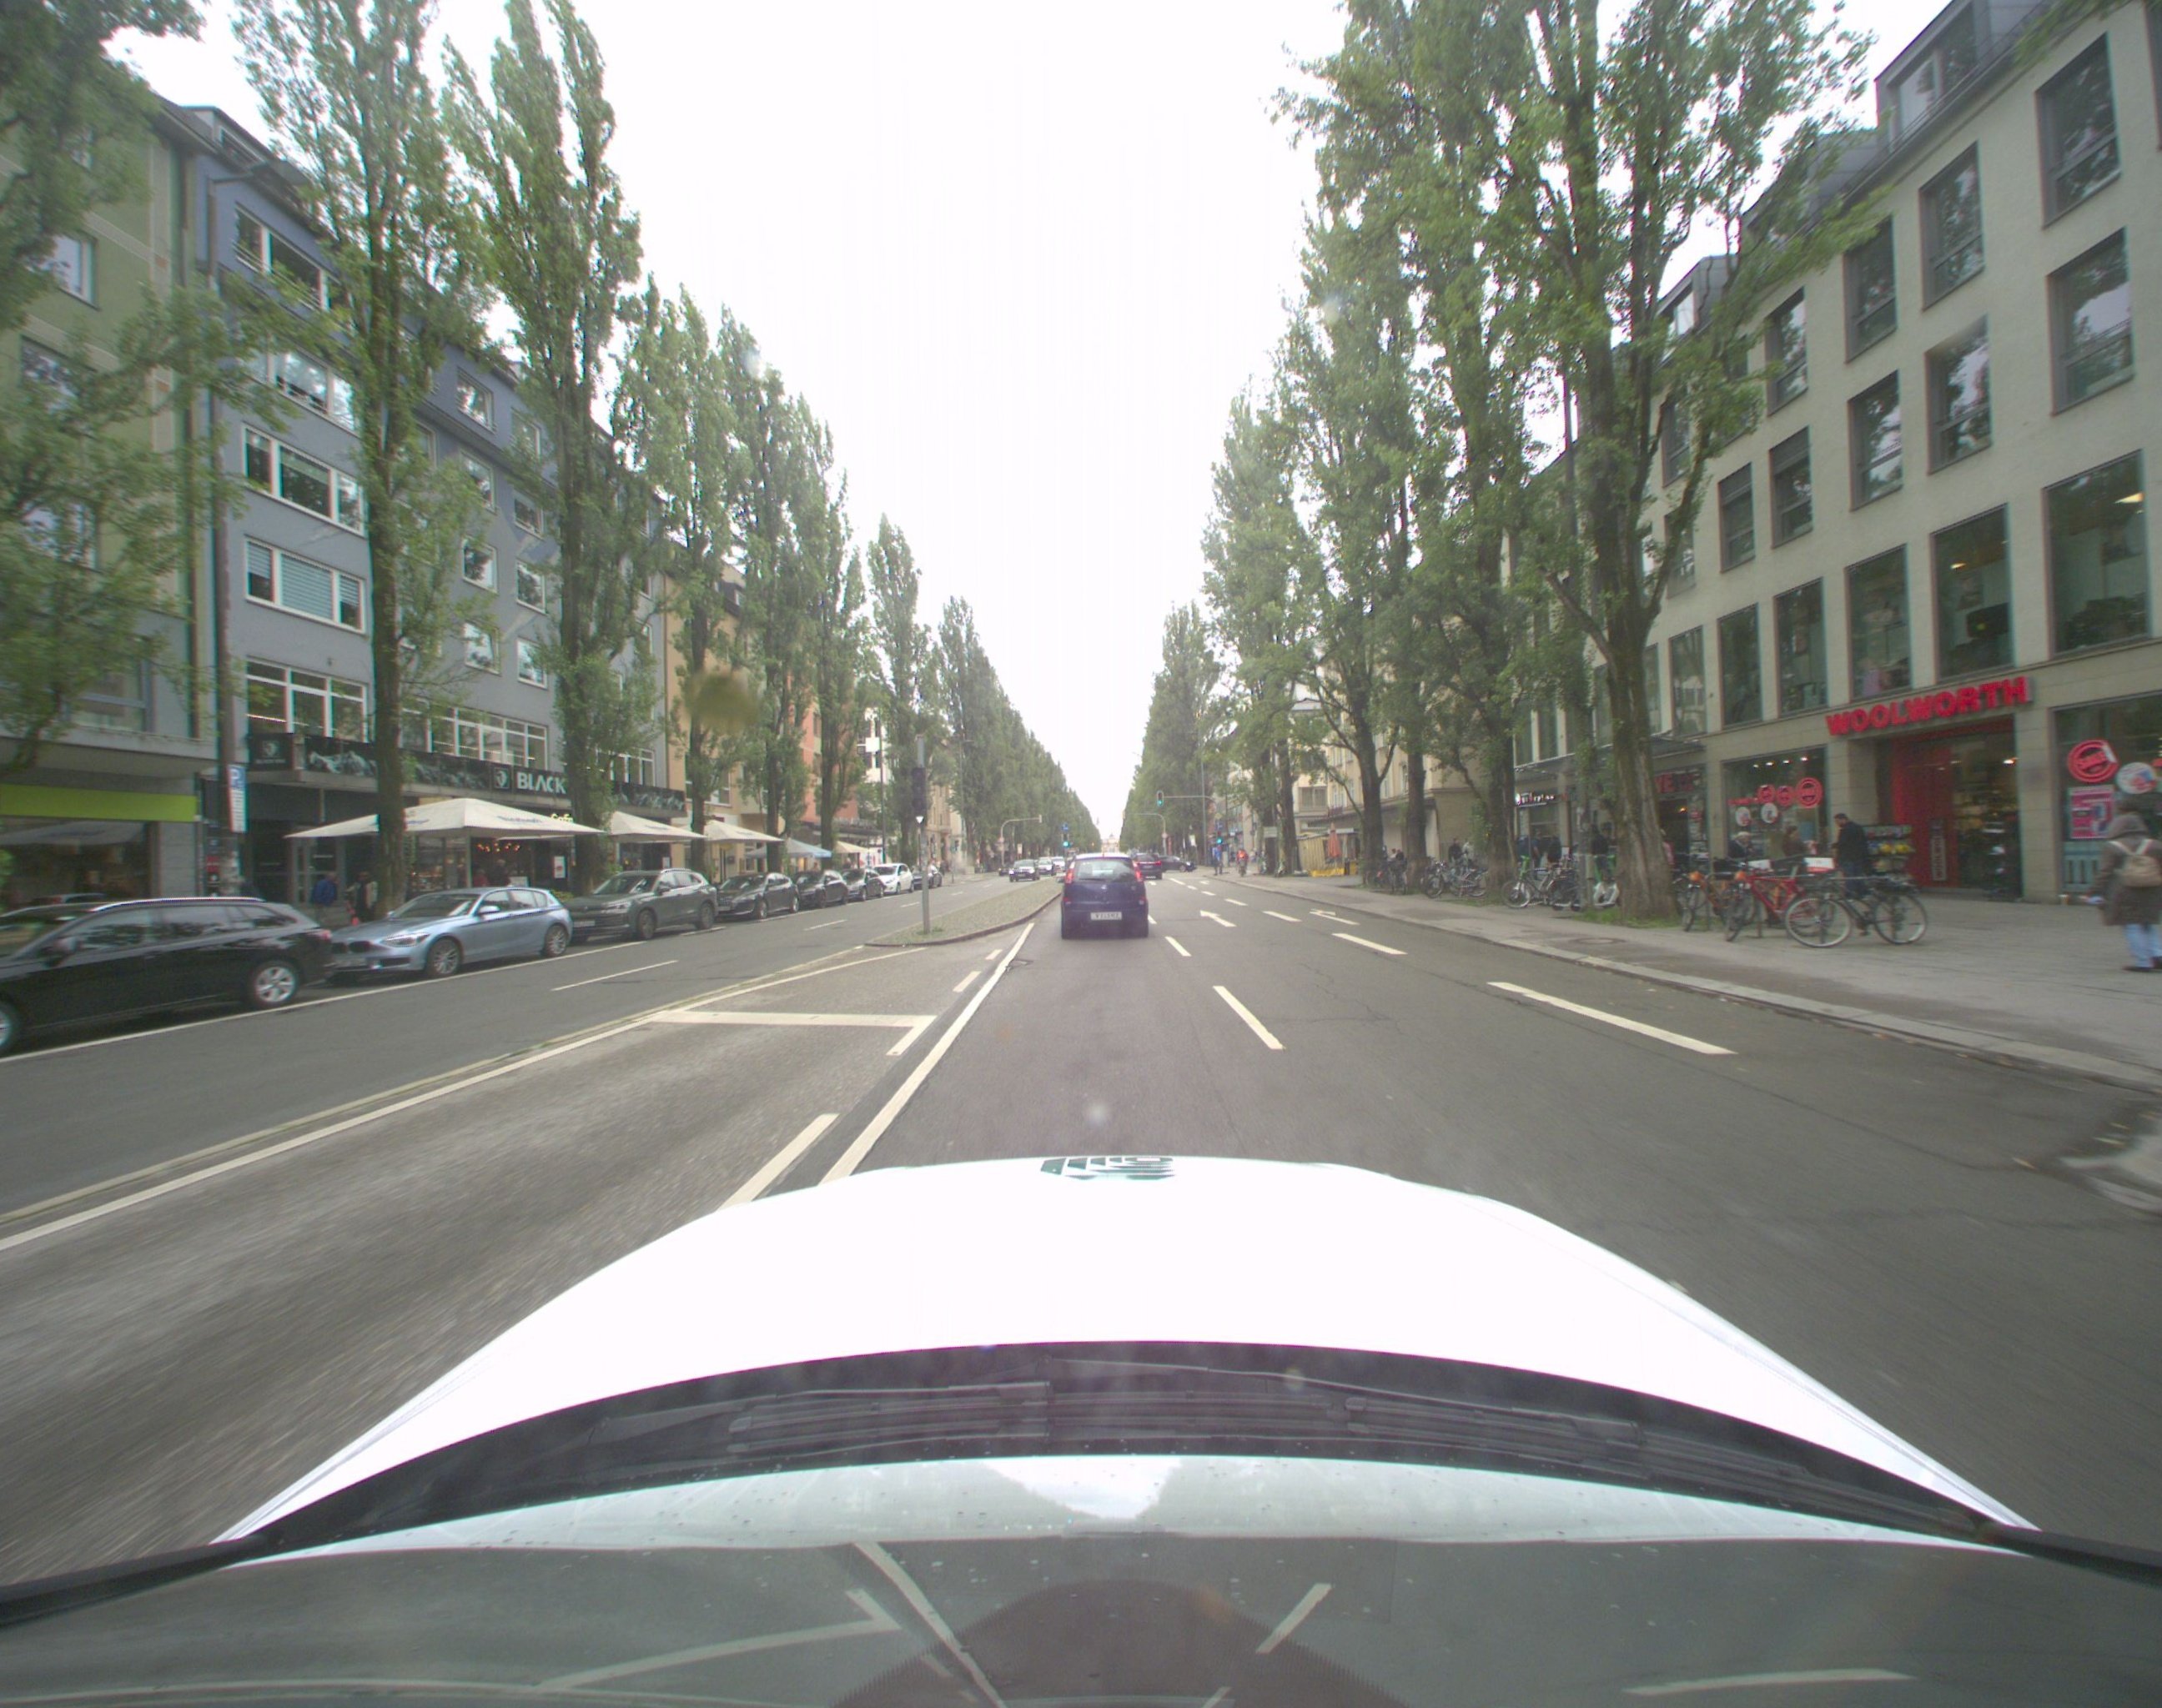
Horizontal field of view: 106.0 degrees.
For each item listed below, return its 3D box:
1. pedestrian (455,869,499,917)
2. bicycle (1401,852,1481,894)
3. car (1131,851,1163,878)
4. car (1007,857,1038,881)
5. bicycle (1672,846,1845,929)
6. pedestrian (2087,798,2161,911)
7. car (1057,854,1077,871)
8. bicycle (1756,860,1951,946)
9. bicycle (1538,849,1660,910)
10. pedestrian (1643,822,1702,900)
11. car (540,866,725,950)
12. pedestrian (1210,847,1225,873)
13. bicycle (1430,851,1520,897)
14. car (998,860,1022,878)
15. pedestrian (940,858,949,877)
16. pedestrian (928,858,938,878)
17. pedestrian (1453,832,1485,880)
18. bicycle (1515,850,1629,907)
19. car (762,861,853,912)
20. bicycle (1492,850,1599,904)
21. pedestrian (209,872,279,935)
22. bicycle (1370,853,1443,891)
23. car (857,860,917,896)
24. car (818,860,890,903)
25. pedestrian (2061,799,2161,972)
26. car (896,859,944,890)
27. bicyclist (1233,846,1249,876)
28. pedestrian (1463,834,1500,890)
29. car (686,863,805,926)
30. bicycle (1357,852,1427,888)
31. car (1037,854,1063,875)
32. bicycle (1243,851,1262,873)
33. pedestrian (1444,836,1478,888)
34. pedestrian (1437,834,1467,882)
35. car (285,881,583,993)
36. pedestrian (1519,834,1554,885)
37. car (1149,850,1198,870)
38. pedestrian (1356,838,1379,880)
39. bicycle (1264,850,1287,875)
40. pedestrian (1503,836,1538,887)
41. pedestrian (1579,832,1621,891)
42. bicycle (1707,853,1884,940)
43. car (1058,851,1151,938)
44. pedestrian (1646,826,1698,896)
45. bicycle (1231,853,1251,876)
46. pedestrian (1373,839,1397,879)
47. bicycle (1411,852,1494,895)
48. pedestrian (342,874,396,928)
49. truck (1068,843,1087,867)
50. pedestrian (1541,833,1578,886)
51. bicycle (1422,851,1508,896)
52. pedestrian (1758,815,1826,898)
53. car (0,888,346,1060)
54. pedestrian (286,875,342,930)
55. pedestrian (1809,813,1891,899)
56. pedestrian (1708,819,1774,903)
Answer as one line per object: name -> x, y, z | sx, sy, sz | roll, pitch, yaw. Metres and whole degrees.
pedestrian -> -18.389, 1.182, 24.812 | 0.763, 1.410, 0.799 | 0, -1, -3
bicycle -> 11.368, 0.594, 25.777 | 2.220, 1.204, 0.626 | -2, 0, 0
car -> 4.150, 0.645, 51.774 | 1.889, 1.622, 4.002 | -1, 0, 2
car -> -3.935, 0.991, 55.099 | 1.728, 1.465, 3.367 | -2, 0, 2
bicycle -> 10.860, 0.530, 13.087 | 2.220, 1.204, 0.626 | -2, 0, 0
pedestrian -> 16.414, 0.002, 12.650 | 0.758, 1.686, 0.671 | -2, -1, -16
car -> -1.472, 0.884, 85.724 | 1.859, 1.665, 4.122 | -2, 0, 2
bicycle -> 10.311, 0.643, 10.911 | 1.989, 1.033, 0.626 | -2, 0, 0
bicycle -> 11.236, 0.550, 17.690 | 2.220, 1.204, 0.626 | -2, 0, 0
pedestrian -> 13.229, 0.159, 18.223 | 0.671, 1.686, 0.758 | -3, -1, -2
car -> -10.757, 1.215, 19.971 | 1.859, 1.665, 4.403 | -4, 0, 2
pedestrian -> 9.561, 0.406, 57.215 | 0.880, 1.766, 0.769 | -2, 0, -1
bicycle -> 11.295, 0.570, 23.375 | 2.220, 1.204, 0.626 | -2, 0, 0
car -> -6.937, 1.464, 79.886 | 1.859, 1.665, 4.122 | -2, 0, 2
pedestrian -> -12.813, 1.254, 76.319 | 0.767, 1.766, 0.882 | -2, 0, -9
pedestrian -> -13.251, 1.277, 72.938 | 0.767, 1.766, 0.882 | -2, 0, -9
pedestrian -> 14.976, 0.074, 31.434 | 0.719, 1.827, 0.885 | 0, -1, -8
bicycle -> 11.320, 0.551, 18.800 | 2.220, 1.204, 0.626 | -2, 0, 0
car -> -10.379, 1.196, 31.204 | 1.859, 1.665, 4.122 | -4, 0, 2
bicycle -> 11.326, 0.552, 19.884 | 2.220, 1.204, 0.626 | -2, 0, 0
pedestrian -> -19.358, 1.129, 18.856 | 0.763, 1.410, 0.799 | 0, -1, -3
bicycle -> 11.147, 0.606, 27.902 | 2.220, 1.204, 0.626 | -2, 0, 0
car -> -9.939, 1.194, 41.990 | 1.859, 1.665, 4.122 | -4, 0, 2
car -> -10.078, 1.186, 36.460 | 1.859, 1.665, 4.122 | -4, 0, 2
pedestrian -> 10.710, 0.310, 8.308 | 0.749, 1.686, 0.755 | -4, -2, 44
car -> -9.664, 1.189, 49.264 | 1.859, 1.665, 4.122 | -4, 0, 2
bicyclist -> 9.842, 0.421, 50.235 | 0.764, 1.766, 0.885 | -2, 0, 1
pedestrian -> 13.353, 0.261, 27.192 | 0.719, 1.827, 0.885 | 0, -1, -8
car -> -10.523, 1.211, 25.918 | 1.859, 1.665, 4.122 | -4, 0, 2
bicycle -> 11.172, 0.563, 29.282 | 2.220, 1.204, 0.626 | -2, 0, 0
car -> -2.591, 0.886, 68.700 | 1.859, 1.665, 4.122 | -2, 0, 2
bicycle -> 10.951, 0.497, 52.095 | 0.769, 1.349, 2.450 | -2, 0, 2
pedestrian -> 13.558, 0.279, 29.064 | 0.719, 1.827, 0.885 | 0, -1, -8
pedestrian -> 14.207, 0.146, 31.197 | 0.636, 1.827, 0.885 | 0, -1, -8
car -> -10.951, 1.311, 14.254 | 1.727, 1.425, 4.145 | -4, 0, 2
pedestrian -> 16.686, 0.190, 29.867 | 0.719, 1.827, 0.885 | 0, -1, -8
car -> 8.048, 0.547, 70.380 | 3.959, 1.622, 1.909 | -1, 0, 13
pedestrian -> 12.834, 0.222, 36.477 | 0.636, 1.827, 0.885 | 0, -1, -8
bicycle -> 11.065, 0.490, 46.470 | 0.769, 1.349, 2.450 | -2, 0, 2
pedestrian -> 15.954, 0.269, 29.602 | 0.719, 1.827, 0.885 | 0, -1, -8
pedestrian -> 16.426, 0.229, 25.793 | 0.719, 1.827, 0.885 | 0, -1, -8
bicycle -> 10.343, 0.601, 11.821 | 1.989, 1.133, 0.626 | -2, 0, 0
car -> 0.512, 0.744, 16.935 | 1.665, 1.568, 4.002 | -1, 0, 2
pedestrian -> 15.864, 0.193, 21.876 | 0.719, 1.827, 0.885 | 0, -1, -8
bicycle -> 9.849, 0.618, 50.236 | 0.769, 1.349, 2.450 | -2, 0, 2
pedestrian -> 13.737, 0.227, 36.811 | 0.636, 1.827, 0.885 | 0, -1, -8
bicycle -> 11.368, 0.585, 24.981 | 2.220, 1.204, 0.626 | -2, 0, 0
pedestrian -> -19.255, 1.265, 22.049 | 0.792, 1.410, 0.770 | -1, -1, 14
truck -> -0.500, 0.173, 122.348 | 2.374, 3.346, 7.114 | -2, 0, 2
pedestrian -> 17.032, 0.193, 28.981 | 0.719, 1.827, 0.885 | 0, -1, -8
bicycle -> 11.387, 0.575, 24.182 | 2.220, 1.204, 0.626 | -2, 0, 0
pedestrian -> 14.876, 0.056, 17.052 | 0.752, 1.686, 0.676 | -3, -1, 7
car -> -11.178, 1.271, 9.106 | 1.791, 1.488, 4.352 | -4, 0, 2
pedestrian -> -20.390, 1.268, 21.655 | 0.792, 1.410, 0.770 | -1, -1, 14
pedestrian -> 15.792, 0.047, 16.753 | 0.793, 1.677, 0.879 | -3, -1, 7
pedestrian -> 13.873, 0.149, 17.143 | 0.753, 1.686, 0.675 | -3, -1, 3
